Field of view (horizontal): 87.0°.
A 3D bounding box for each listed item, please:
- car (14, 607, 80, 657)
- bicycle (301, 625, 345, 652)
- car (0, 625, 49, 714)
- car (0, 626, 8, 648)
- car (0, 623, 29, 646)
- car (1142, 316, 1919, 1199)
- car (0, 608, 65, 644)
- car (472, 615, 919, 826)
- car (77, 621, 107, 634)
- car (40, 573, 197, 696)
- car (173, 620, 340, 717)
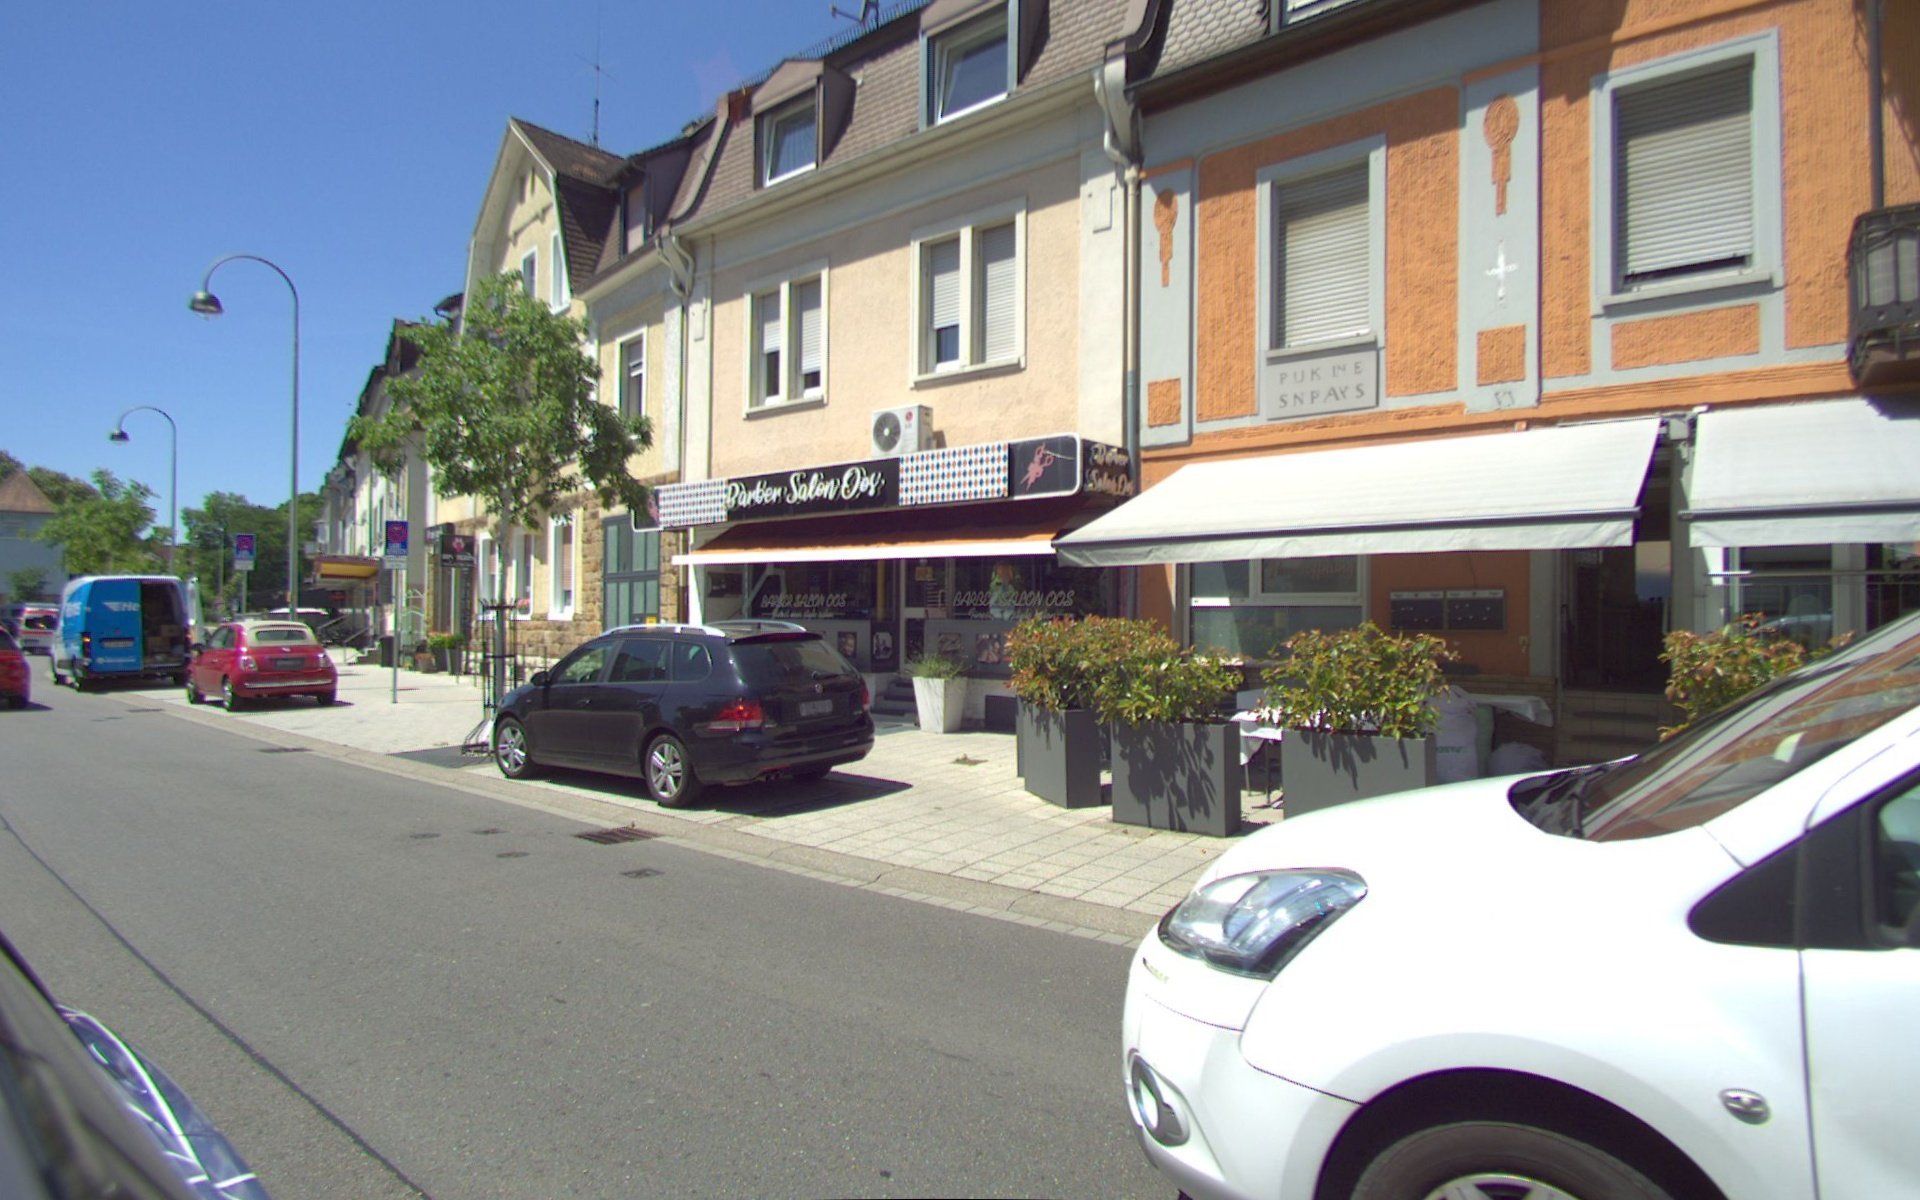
[{"bbox_3d":[-46.729,1.642,51.914,2.129,2.380,5.257,3,-3,-39],"label":"car"},{"bbox_3d":[-30.756,1.858,48.891,1.741,1.244,0.618,-2,-1,-34],"label":"bicycle"},{"bbox_3d":[-17.494,1.149,17.422,3.973,1.438,1.898,-1,-3,37],"label":"car"},{"bbox_3d":[-65.931,2.439,67.131,3.756,1.473,1.656,2,-2,-34],"label":"car"},{"bbox_3d":[-68.018,2.395,70.592,4.289,1.563,1.656,2,-3,-36],"label":"car"},{"bbox_3d":[2.736,0.554,1.698,4.399,1.836,1.979,-1,-4,31],"label":"car"},{"bbox_3d":[-73.751,2.017,79.563,4.788,2.757,1.856,2,-3,-32],"label":"car"},{"bbox_3d":[-2.636,0.937,9.557,4.333,1.493,1.896,-1,0,39],"label":"car"},{"bbox_3d":[-106.787,3.349,124.457,3.849,1.465,1.604,0,-3,31],"label":"car"},{"bbox_3d":[-19.537,0.758,23.393,5.502,2.517,2.070,-1,-1,42],"label":"car"},{"bbox_3d":[-12.662,1.149,18.158,3.512,1.532,1.544,0,-1,39],"label":"car"}]
